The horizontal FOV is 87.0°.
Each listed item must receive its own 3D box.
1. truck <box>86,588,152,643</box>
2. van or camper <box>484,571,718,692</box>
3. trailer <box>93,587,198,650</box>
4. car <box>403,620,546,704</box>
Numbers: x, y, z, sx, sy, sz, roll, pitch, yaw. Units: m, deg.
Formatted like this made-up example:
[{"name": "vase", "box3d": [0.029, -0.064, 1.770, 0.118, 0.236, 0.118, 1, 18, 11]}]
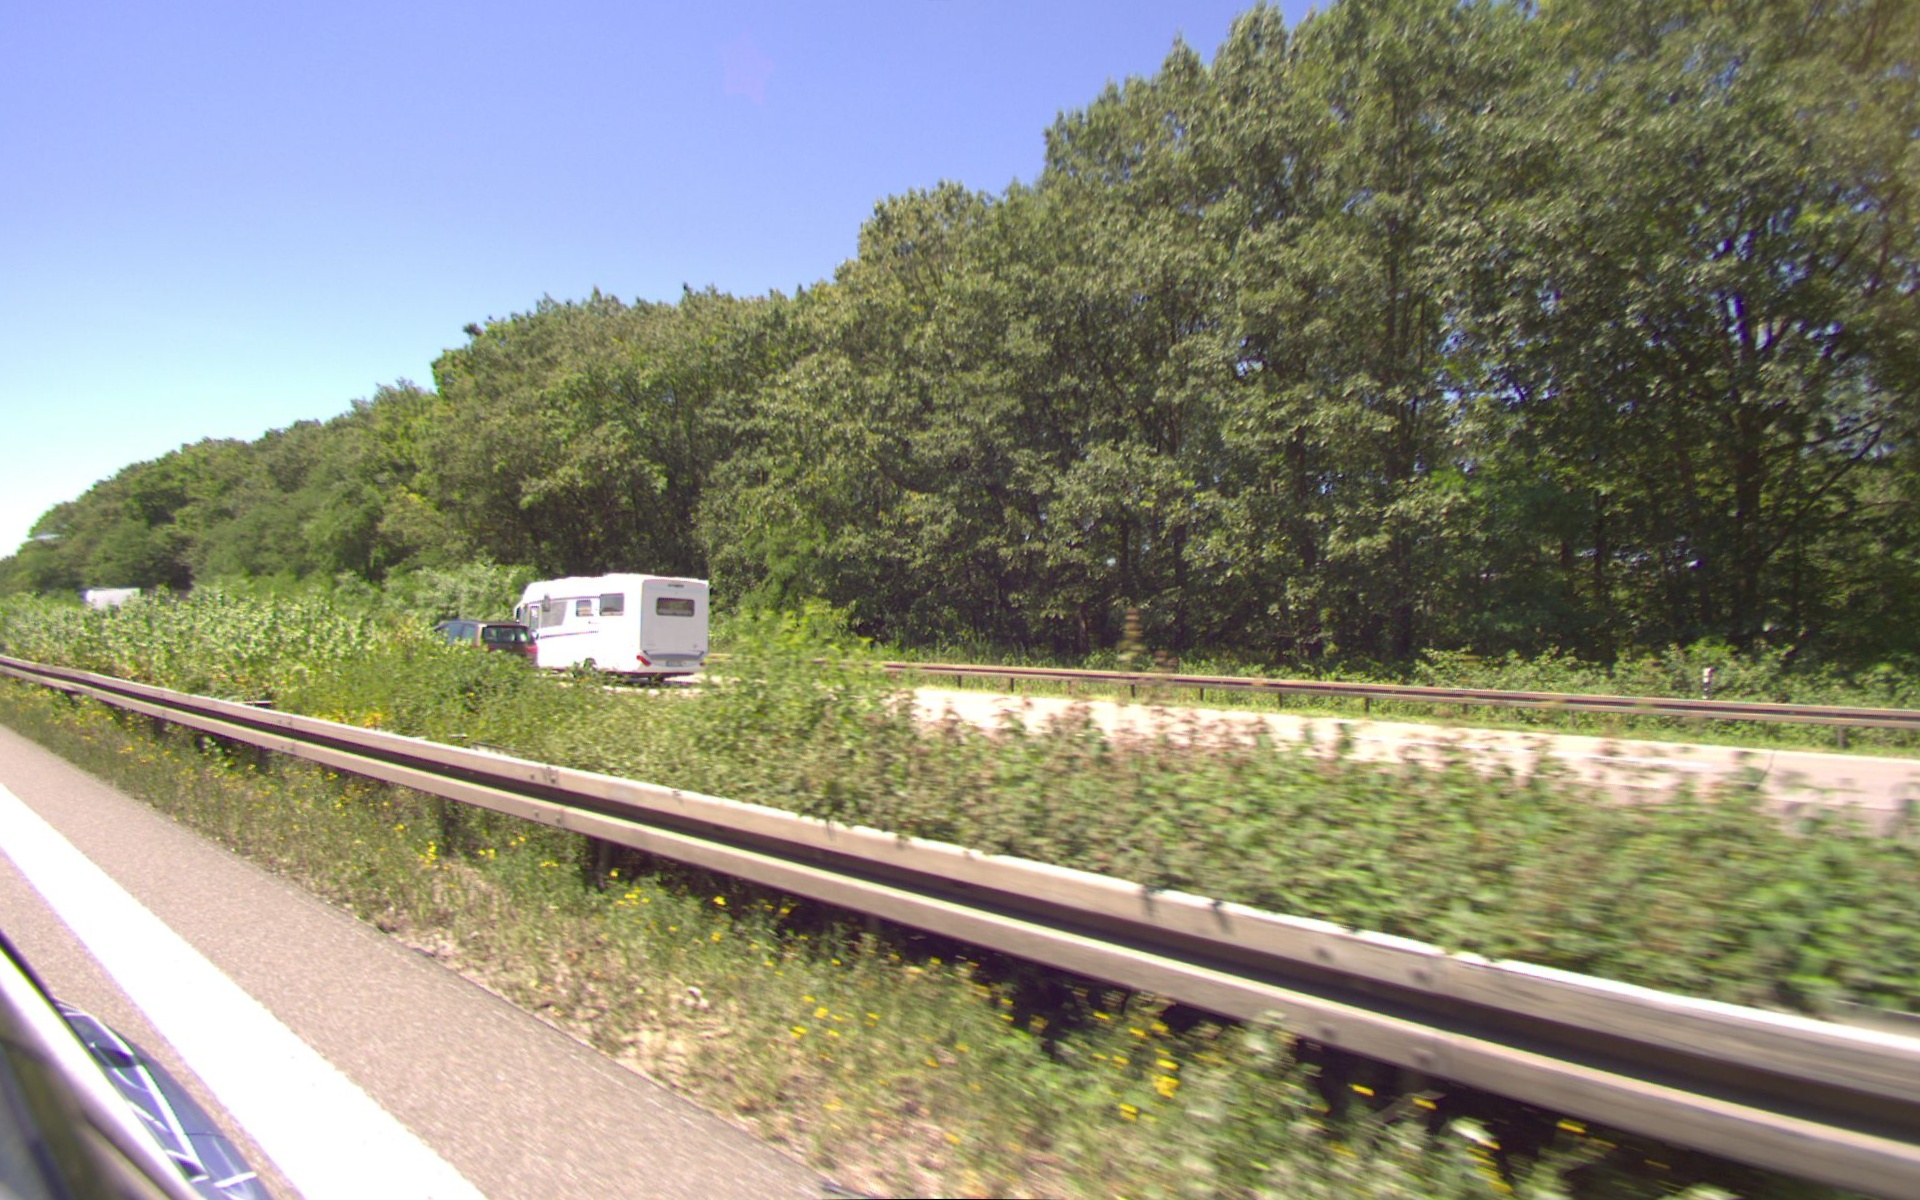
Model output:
[{"name": "truck", "box3d": [-60.744, 1.112, 73.069, 4.880, 3.852, 2.754, -1, -1, 40]}, {"name": "van or camper", "box3d": [-10.914, 0.902, 30.105, 9.081, 3.136, 2.395, -1, -2, 41]}, {"name": "trailer", "box3d": [-55.146, 1.261, 68.312, 13.630, 3.907, 2.880, -1, -1, 40]}, {"name": "car", "box3d": [-12.896, 1.578, 26.793, 3.998, 2.029, 1.973, -1, -2, 41]}]
